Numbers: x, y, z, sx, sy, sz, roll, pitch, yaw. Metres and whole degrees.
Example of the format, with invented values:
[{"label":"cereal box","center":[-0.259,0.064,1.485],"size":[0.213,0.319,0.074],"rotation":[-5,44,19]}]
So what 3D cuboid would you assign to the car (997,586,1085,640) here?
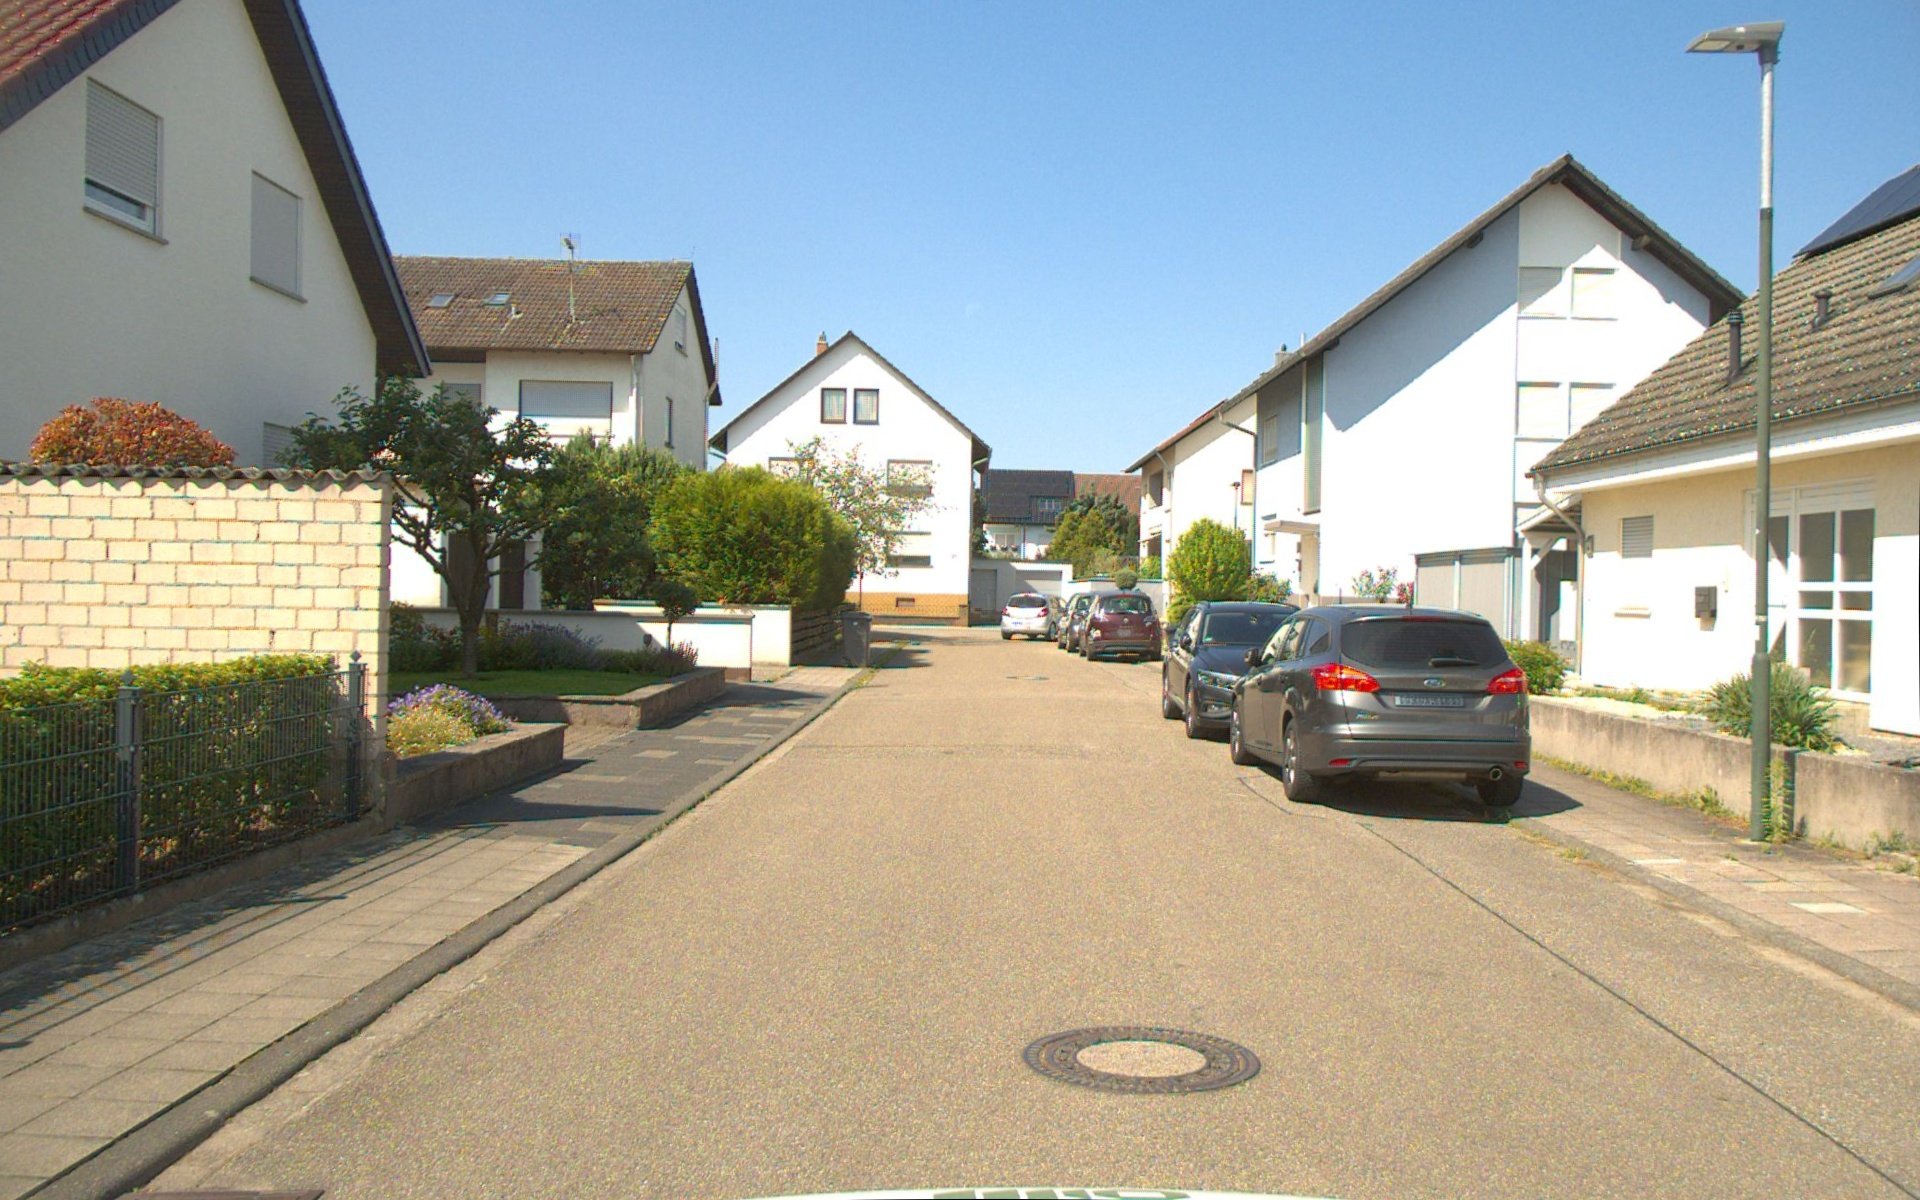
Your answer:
[{"label":"car","center":[2.636,0.406,53.248],"size":[1.612,1.609,3.808],"rotation":[2,0,22]}]

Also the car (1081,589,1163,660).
[{"label":"car","center":[3.880,0.540,40.098],"size":[1.611,1.609,4.148],"rotation":[1,0,1]}]

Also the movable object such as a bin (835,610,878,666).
[{"label":"movable object such as a bin","center":[-2.032,0.746,32.522],"size":[0.801,1.082,0.611],"rotation":[1,0,0]}]

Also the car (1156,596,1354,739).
[{"label":"car","center":[3.349,0.701,19.550],"size":[1.681,1.463,4.504],"rotation":[1,0,2]}]

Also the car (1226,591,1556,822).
[{"label":"car","center":[3.352,0.741,13.640],"size":[1.609,1.504,4.000],"rotation":[3,1,0]}]

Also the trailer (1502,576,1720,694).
[{"label":"trailer","center":[9.902,0.519,25.295],"size":[2.775,1.719,1.403],"rotation":[1,0,1]}]

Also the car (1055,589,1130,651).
[{"label":"car","center":[3.566,0.512,45.035],"size":[1.612,1.573,4.047],"rotation":[1,0,-1]}]
